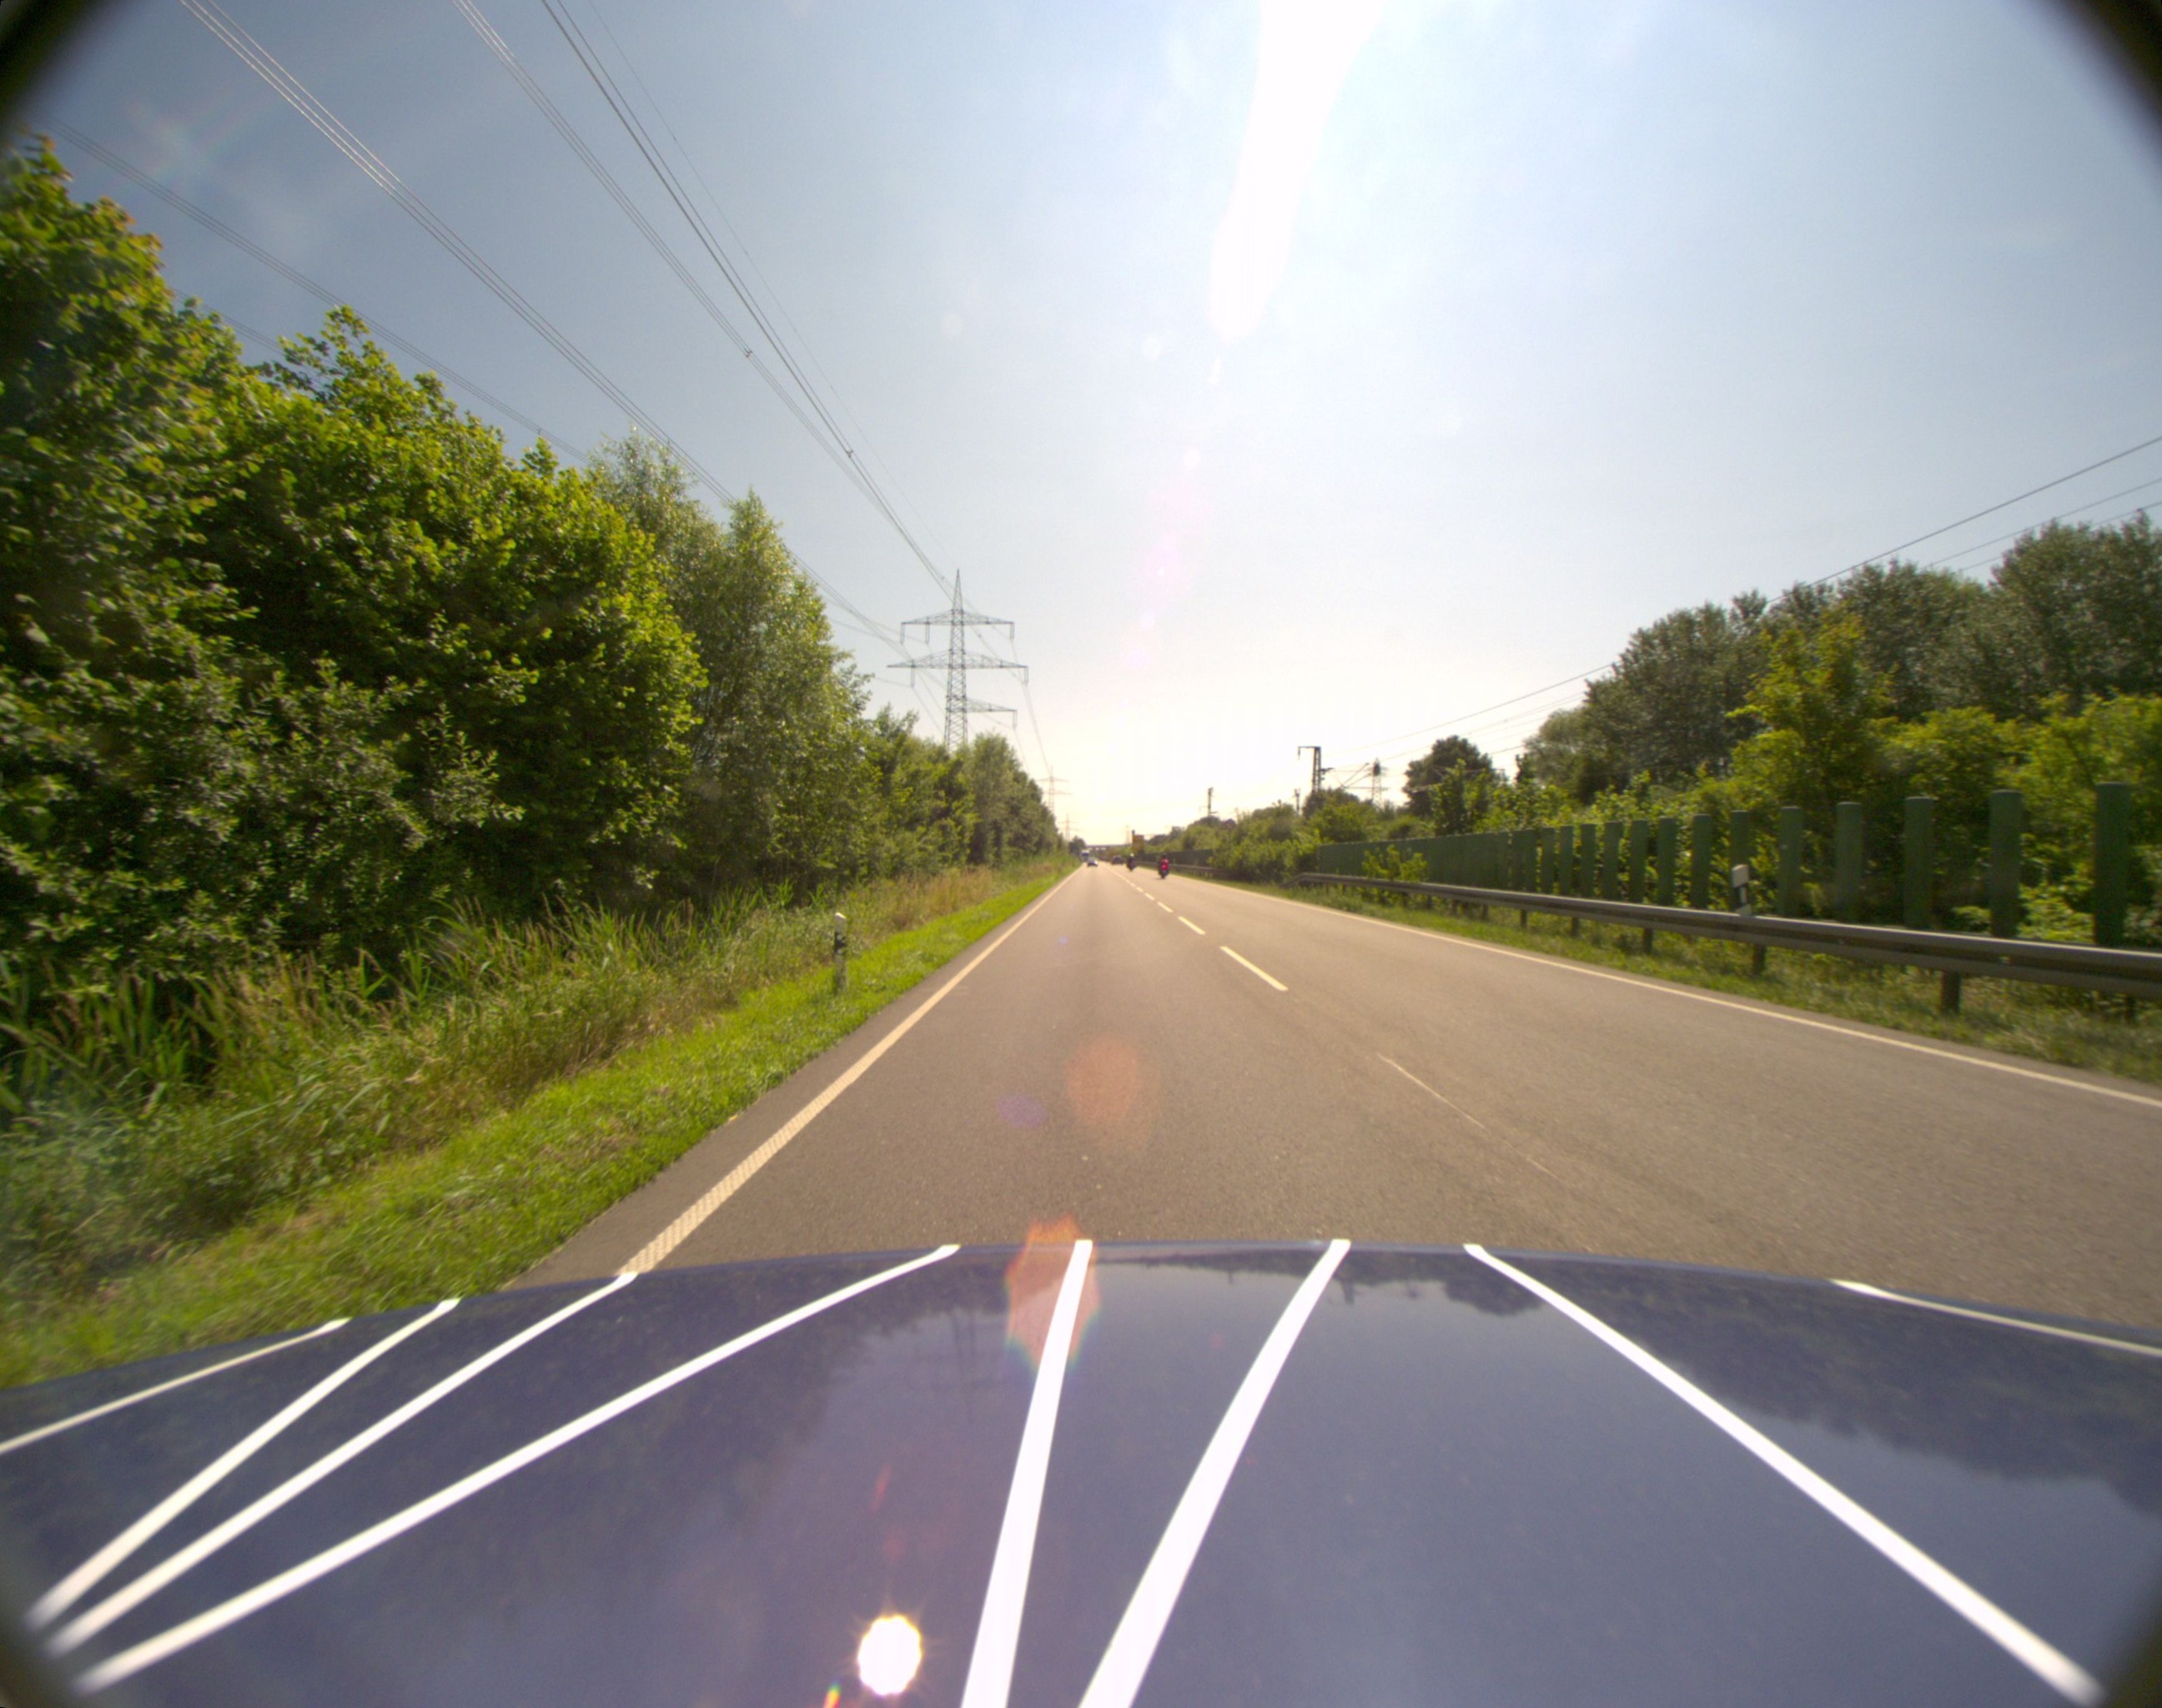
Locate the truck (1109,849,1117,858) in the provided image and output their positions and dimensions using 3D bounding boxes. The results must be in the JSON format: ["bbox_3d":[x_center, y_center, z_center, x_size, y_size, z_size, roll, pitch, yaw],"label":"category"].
[{"bbox_3d":[8.309,-0.189,199.664,1.998,2.334,6.012,-1,0,1],"label":"truck"}]

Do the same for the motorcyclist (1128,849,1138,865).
[{"bbox_3d":[5.228,0.294,76.426,0.961,1.600,1.003,-2,1,2],"label":"motorcyclist"}]

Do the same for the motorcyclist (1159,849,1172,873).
[{"bbox_3d":[5.605,0.441,50.396,0.751,1.574,0.864,-2,1,2],"label":"motorcyclist"}]

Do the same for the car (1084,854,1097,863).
[{"bbox_3d":[1.458,0.702,121.413,1.998,1.346,4.157,-2,0,0],"label":"car"}]

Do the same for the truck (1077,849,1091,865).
[{"bbox_3d":[0.892,0.893,245.318,4.219,4.608,21.303,-2,0,0],"label":"truck"}]

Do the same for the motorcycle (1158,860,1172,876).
[{"bbox_3d":[5.663,0.929,51.230,0.756,1.008,2.721,-2,0,3],"label":"motorcycle"}]

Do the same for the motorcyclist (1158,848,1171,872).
[{"bbox_3d":[5.650,0.425,51.341,0.760,1.574,1.003,-2,1,2],"label":"motorcyclist"}]

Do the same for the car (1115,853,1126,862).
[{"bbox_3d":[7.141,0.637,139.146,1.819,1.684,4.706,-1,0,1],"label":"car"}]

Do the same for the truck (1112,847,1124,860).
[{"bbox_3d":[7.643,-0.041,157.294,2.085,2.631,5.704,-1,0,1],"label":"truck"}]

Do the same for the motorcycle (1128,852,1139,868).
[{"bbox_3d":[5.222,0.564,76.055,0.970,1.487,2.630,-2,1,2],"label":"motorcycle"}]
